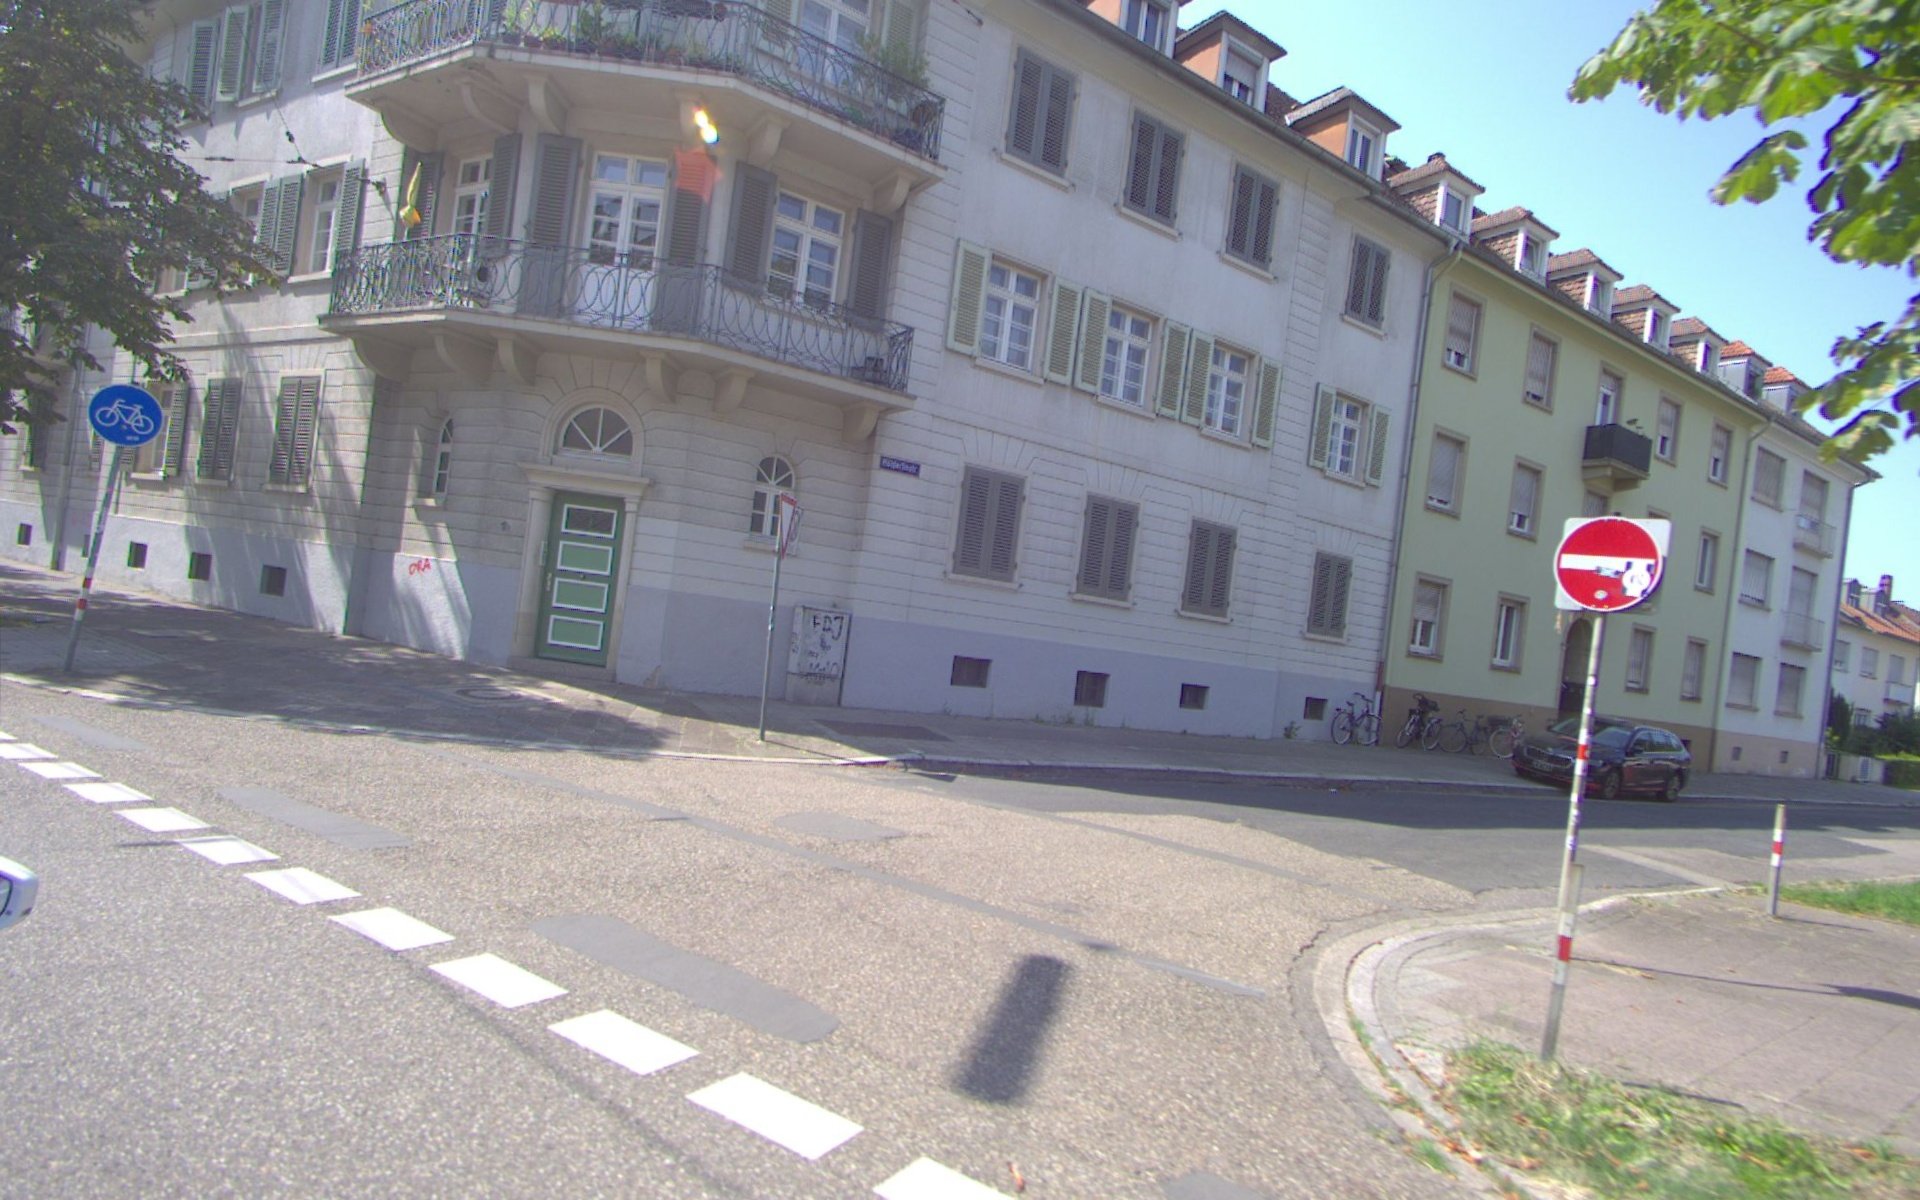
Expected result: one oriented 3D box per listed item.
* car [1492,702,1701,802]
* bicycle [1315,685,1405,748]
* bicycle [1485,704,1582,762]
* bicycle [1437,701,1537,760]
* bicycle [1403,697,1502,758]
[{"bbox_3d":[13.053,3.129,20.570,4.286,1.559,1.865,8,-1,-32],"label":"car"},{"bbox_3d":[8.555,2.496,21.465,2.190,1.129,0.452,8,-1,-31],"label":"bicycle"},{"bbox_3d":[14.250,3.306,25.006,2.175,1.129,0.455,8,0,-8],"label":"bicycle"},{"bbox_3d":[12.591,3.118,24.024,2.175,1.129,0.455,8,0,-9],"label":"bicycle"},{"bbox_3d":[11.327,2.929,23.124,2.178,1.129,0.455,8,0,-14],"label":"bicycle"}]
